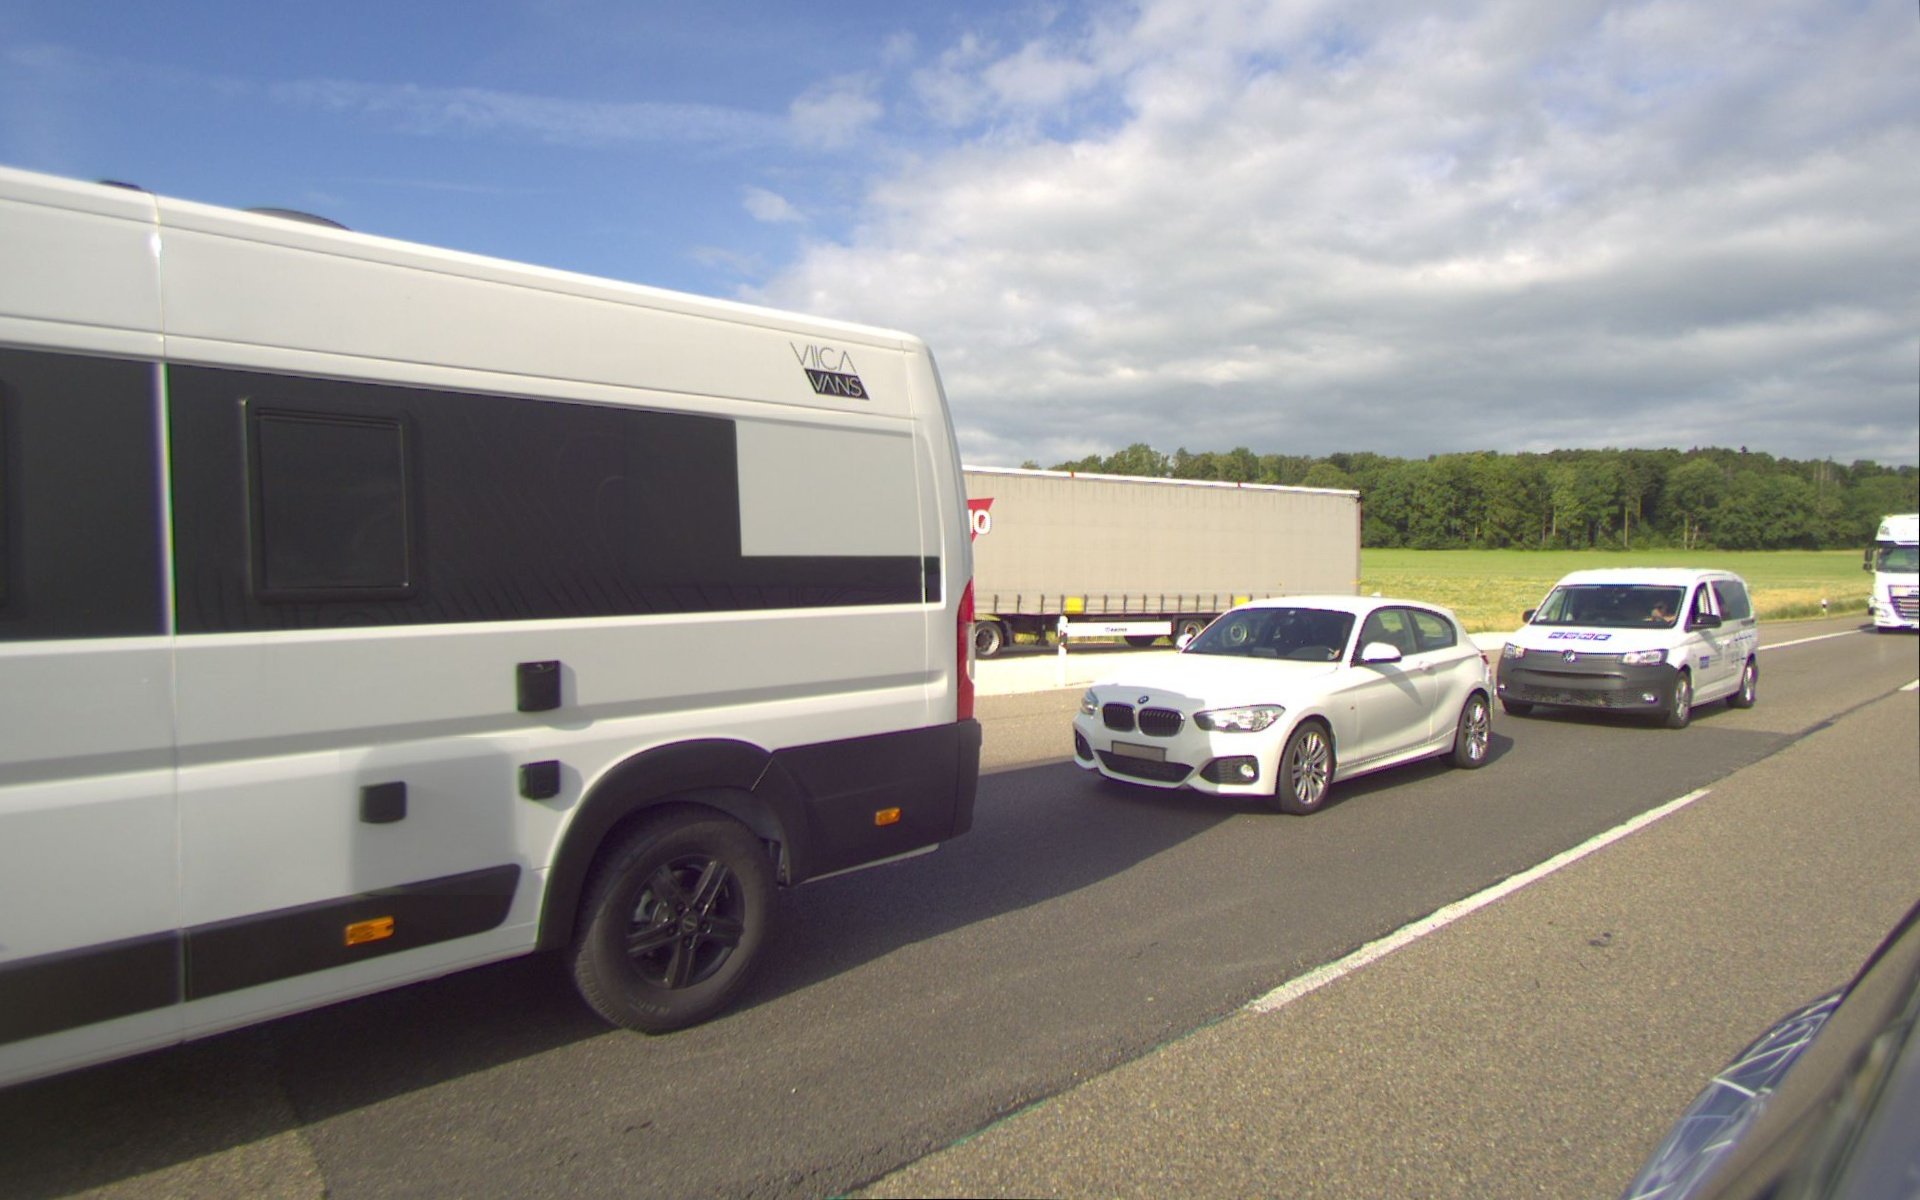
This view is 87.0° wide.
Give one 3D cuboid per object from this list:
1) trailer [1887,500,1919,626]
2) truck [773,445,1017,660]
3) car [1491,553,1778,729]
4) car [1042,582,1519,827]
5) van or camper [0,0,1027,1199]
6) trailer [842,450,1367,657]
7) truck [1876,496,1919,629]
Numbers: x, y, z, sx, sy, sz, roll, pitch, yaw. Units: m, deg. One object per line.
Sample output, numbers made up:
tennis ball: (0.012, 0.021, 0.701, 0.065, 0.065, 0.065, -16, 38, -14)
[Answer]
trailer: (37.600, -1.379, 37.961, 13.778, 4.212, 2.739, -2, 1, -41)
truck: (-1.451, -0.964, 22.152, 4.662, 4.226, 2.727, 0, 0, -26)
car: (8.354, 0.392, 12.353, 4.620, 1.779, 1.727, -1, 0, -41)
car: (2.707, 0.595, 8.022, 4.158, 1.450, 1.706, -1, 1, -41)
van or camper: (-2.783, 0.000, 2.956, 6.223, 2.714, 2.219, -1, 1, -41)
trailer: (3.986, -1.007, 24.805, 13.544, 4.213, 2.748, 0, 0, -26)
truck: (32.947, -1.252, 33.875, 5.667, 4.226, 2.733, -1, 1, -41)
